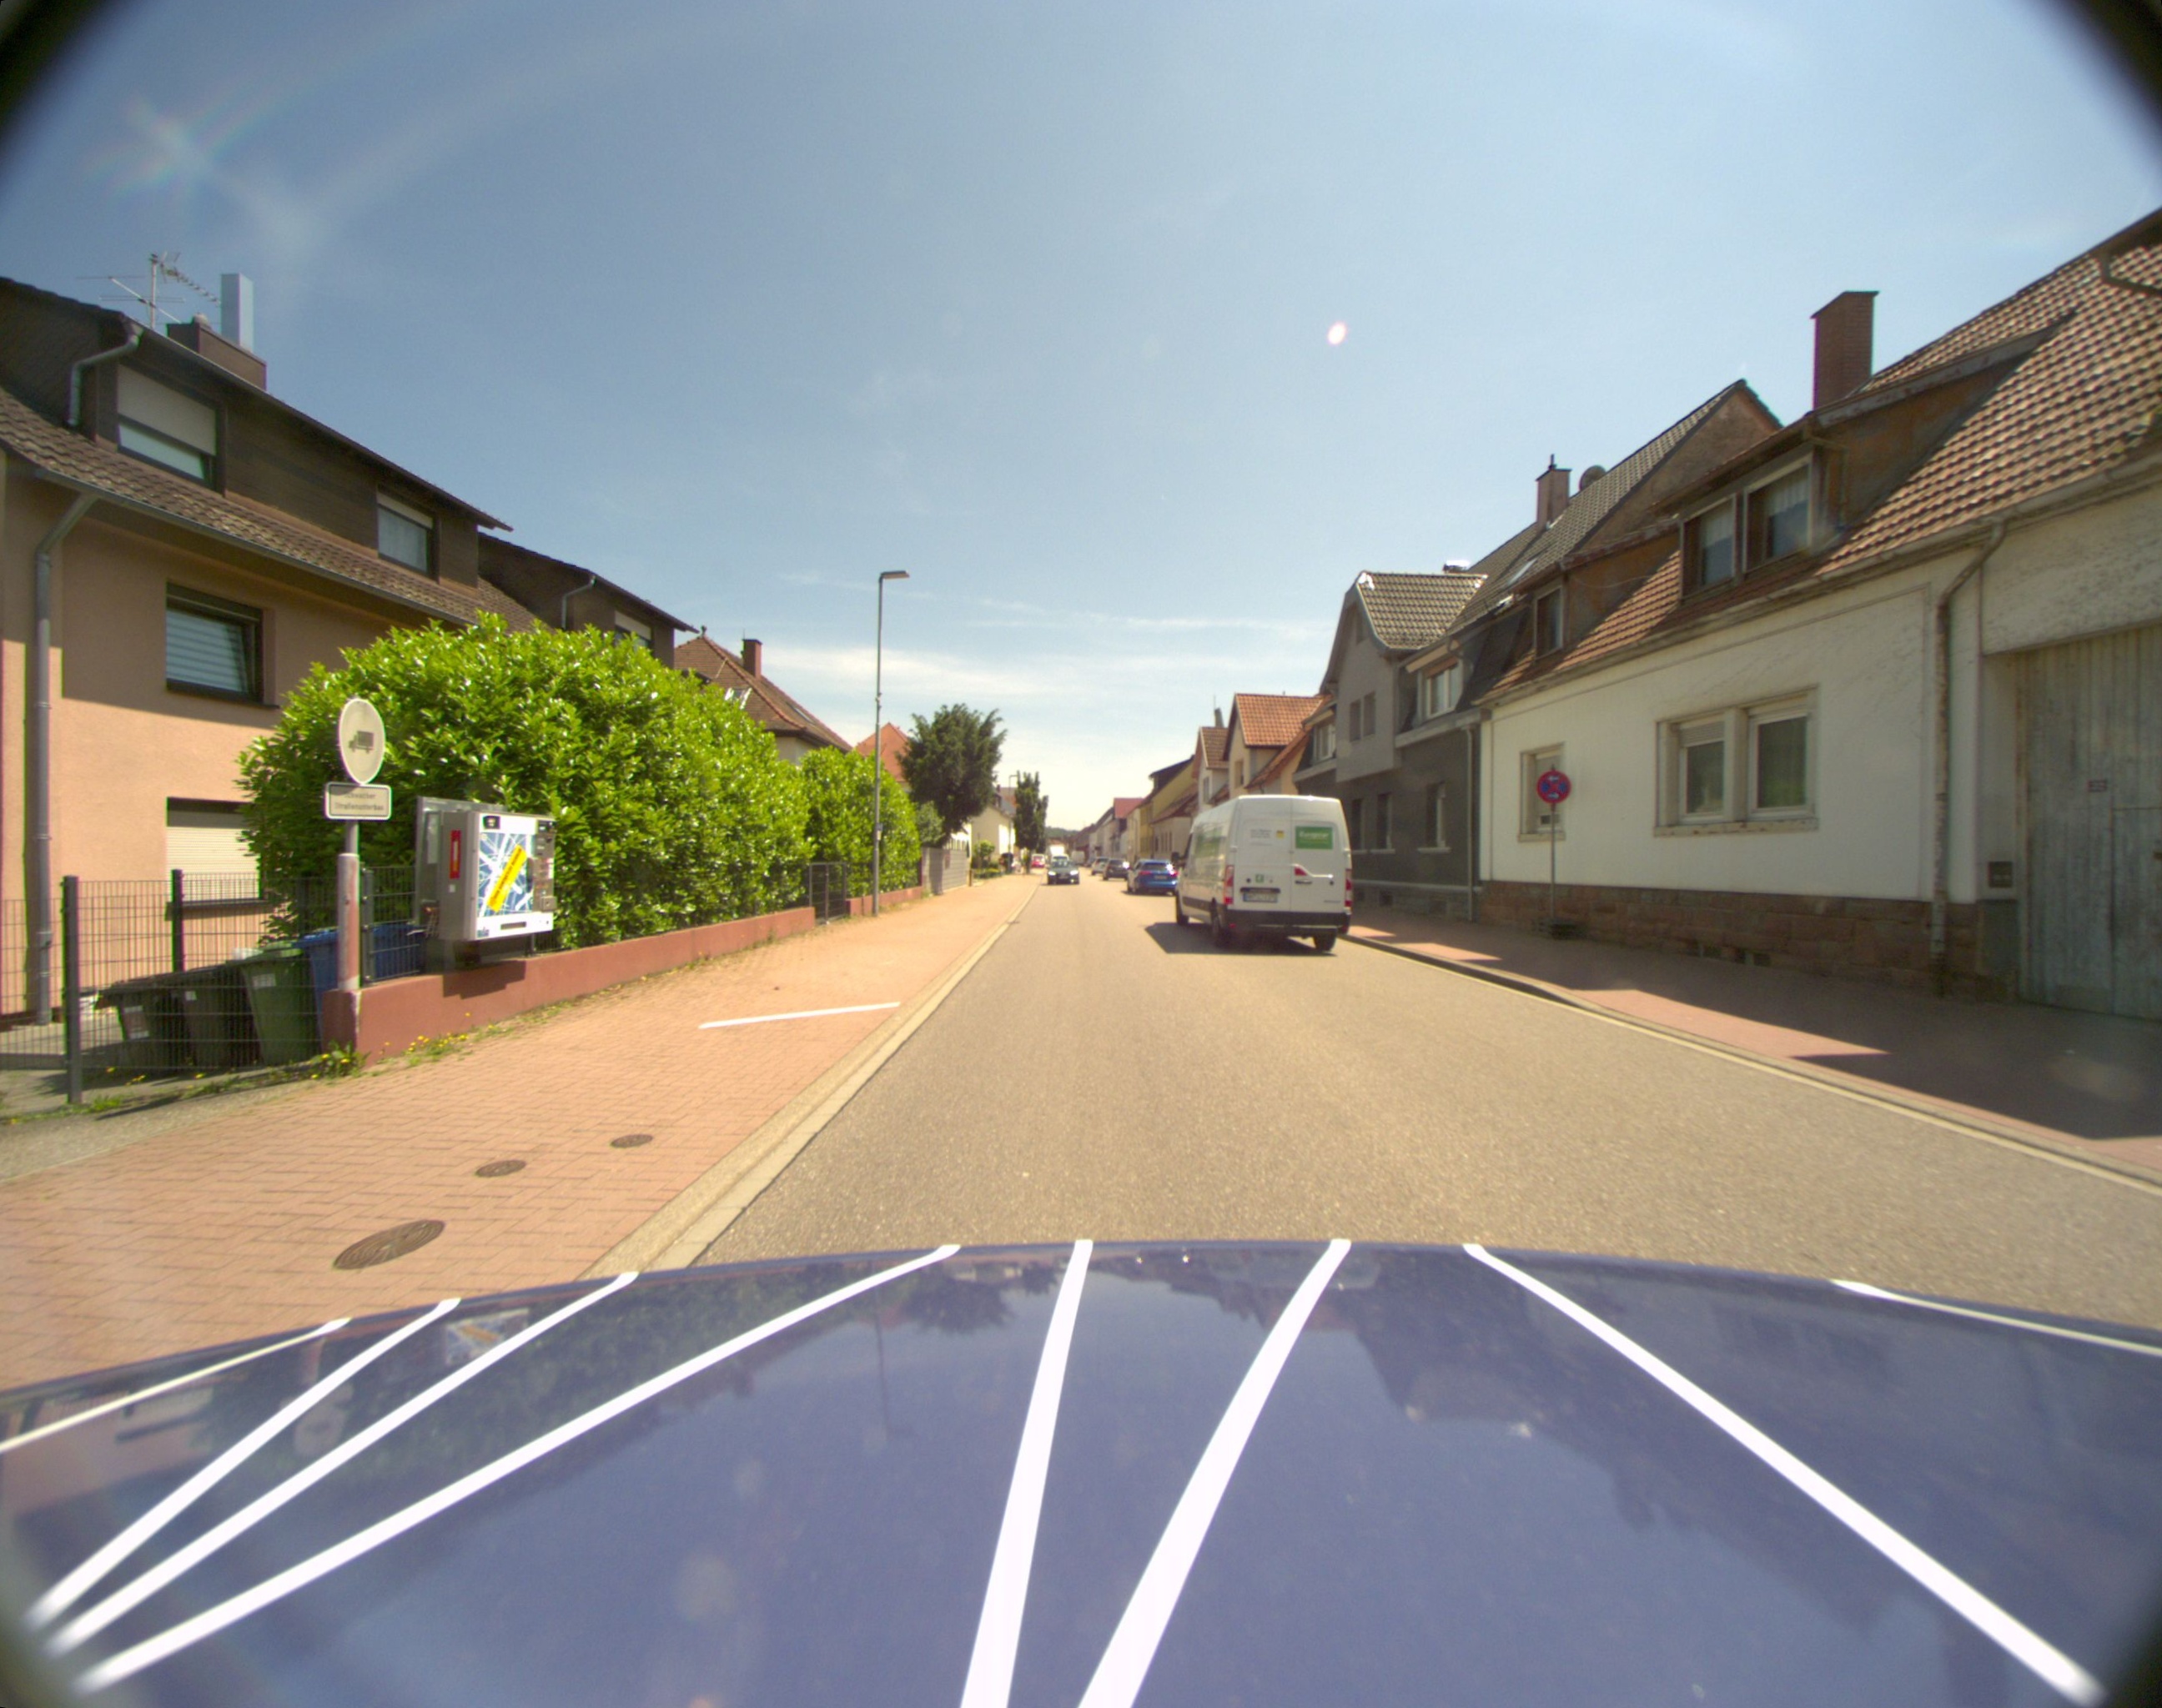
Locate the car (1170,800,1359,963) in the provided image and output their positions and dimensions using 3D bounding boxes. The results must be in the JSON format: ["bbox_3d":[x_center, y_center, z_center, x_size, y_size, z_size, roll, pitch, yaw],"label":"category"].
[{"bbox_3d":[3.163,0.414,14.637,2.035,2.446,6.067,1,0,-1],"label":"car"}]

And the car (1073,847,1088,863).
[{"bbox_3d":[-0.158,0.143,124.720,2.116,2.517,4.913,2,0,-3],"label":"car"}]

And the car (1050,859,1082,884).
[{"bbox_3d":[-0.860,0.960,43.318,1.705,1.346,3.999,-1,0,-2],"label":"car"}]

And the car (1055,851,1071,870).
[{"bbox_3d":[-1.798,0.661,76.494,1.637,1.833,3.569,0,0,-1],"label":"car"}]

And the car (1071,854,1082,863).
[{"bbox_3d":[-0.908,0.883,141.194,1.983,1.624,4.250,2,0,-1],"label":"car"}]

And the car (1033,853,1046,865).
[{"bbox_3d":[-5.818,0.727,107.218,1.637,1.572,3.569,1,0,-2],"label":"car"}]

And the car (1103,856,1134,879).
[{"bbox_3d":[2.470,0.906,51.258,1.681,1.450,3.927,1,0,-3],"label":"car"}]

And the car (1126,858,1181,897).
[{"bbox_3d":[2.983,0.930,32.009,1.650,1.445,4.399,2,0,-2],"label":"car"}]

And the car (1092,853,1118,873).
[{"bbox_3d":[2.043,0.772,66.575,1.879,1.594,4.430,1,0,-3],"label":"car"}]

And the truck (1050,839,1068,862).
[{"bbox_3d":[-3.576,-0.569,124.363,2.898,3.516,12.951,0,0,-2],"label":"truck"}]
